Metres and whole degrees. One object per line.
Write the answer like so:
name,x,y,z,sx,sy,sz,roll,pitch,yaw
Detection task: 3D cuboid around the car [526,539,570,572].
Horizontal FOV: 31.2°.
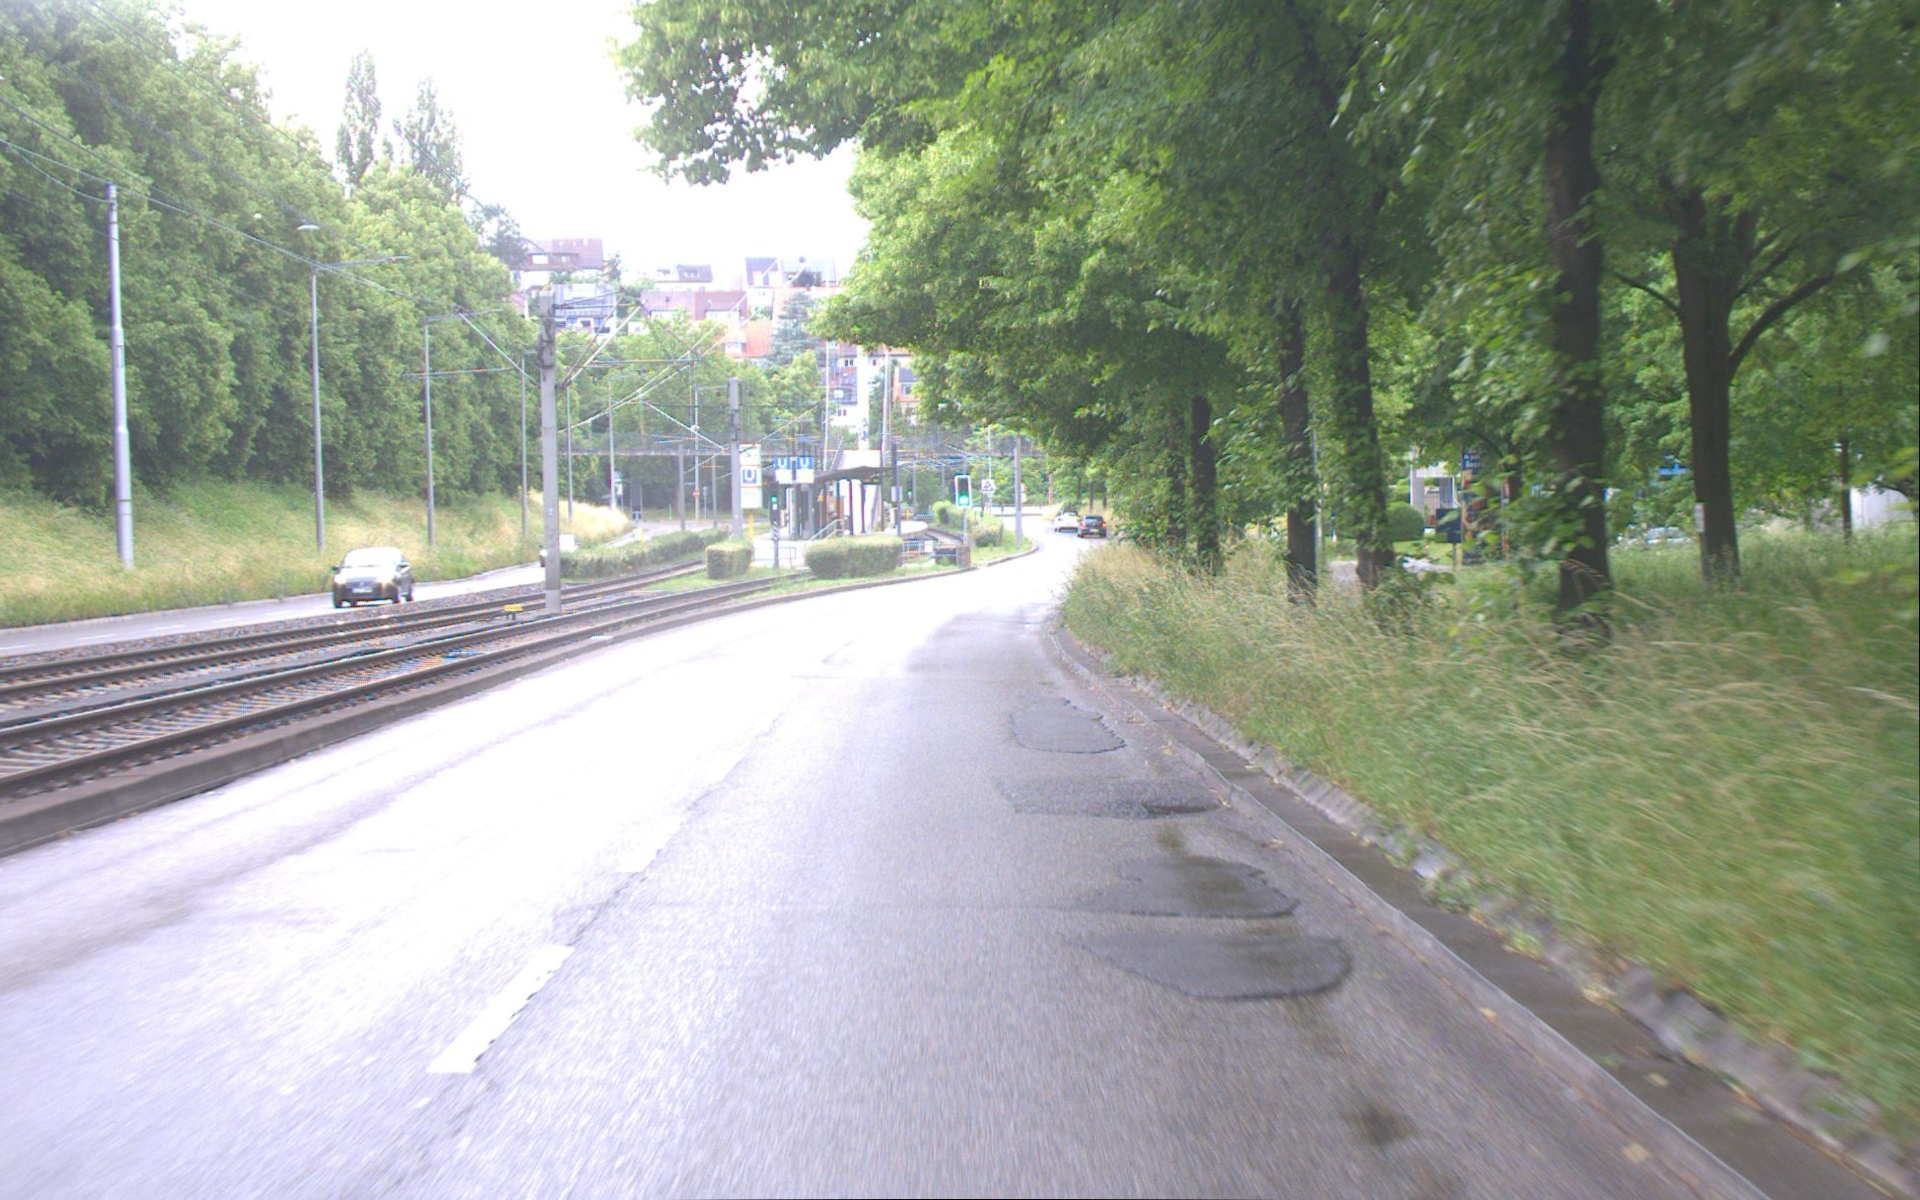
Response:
car,-20.064,-2.167,167.471,1.784,1.546,3.962,-2,1,-3

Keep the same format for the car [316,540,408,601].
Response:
car,-15.303,-0.771,88.185,1.669,1.438,4.027,-3,1,-1
